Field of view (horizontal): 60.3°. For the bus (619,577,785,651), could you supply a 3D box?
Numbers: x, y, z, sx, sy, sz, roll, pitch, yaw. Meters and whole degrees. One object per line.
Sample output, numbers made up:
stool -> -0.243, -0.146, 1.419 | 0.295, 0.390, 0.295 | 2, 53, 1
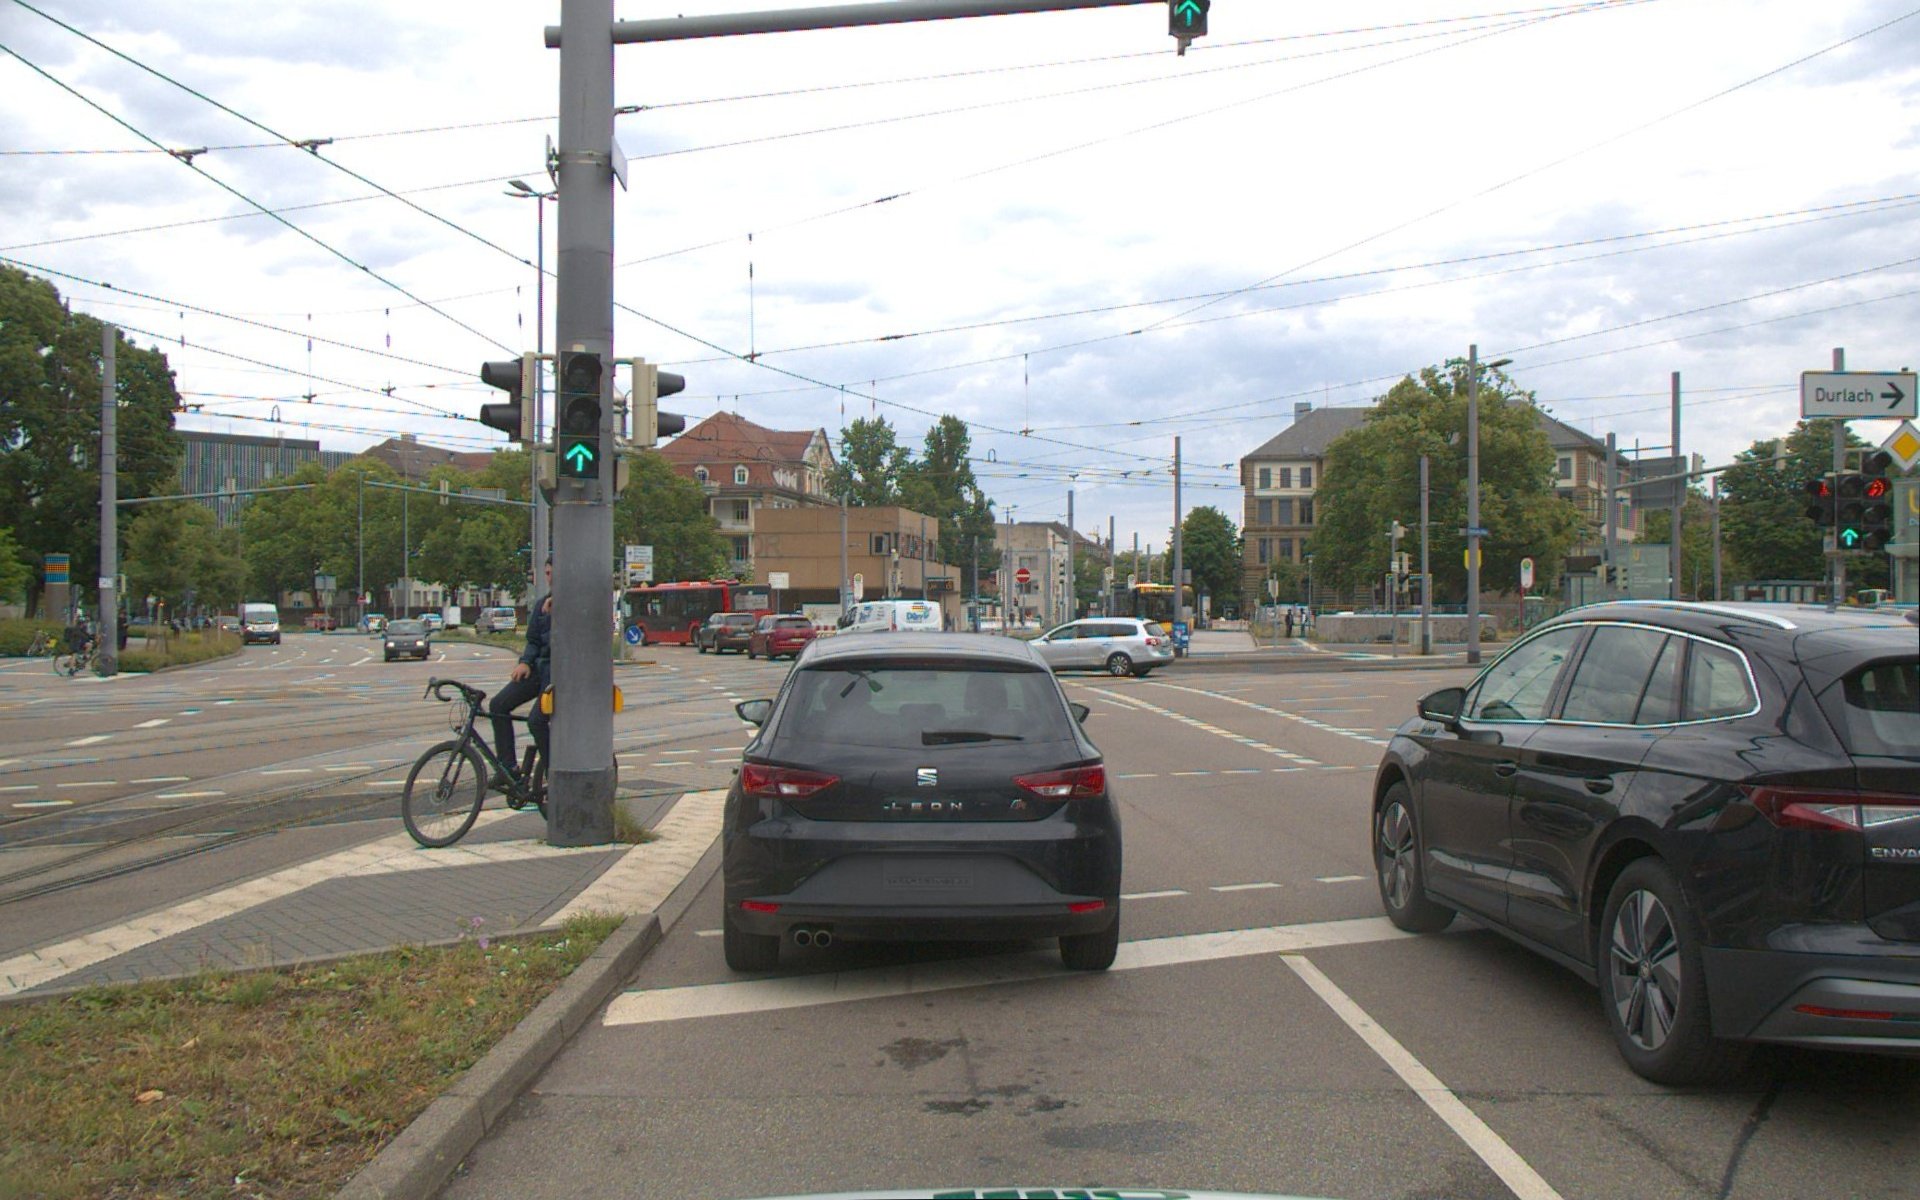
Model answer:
bus -> -12.969, 0.728, 81.707 | 3.033, 3.355, 12.224 | 0, -1, -35

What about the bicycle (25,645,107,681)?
bicycle -> -27.630, 1.944, 51.139 | 2.080, 1.046, 0.791 | 2, 1, -18

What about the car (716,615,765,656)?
car -> -9.178, 1.451, 68.852 | 1.956, 1.593, 4.197 | 0, 0, -8

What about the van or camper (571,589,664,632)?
van or camper -> -28.102, 0.842, 135.735 | 2.828, 3.390, 7.103 | -3, -2, 44

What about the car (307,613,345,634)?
car -> -55.692, 2.026, 145.247 | 1.981, 1.803, 3.943 | 0, -1, -39

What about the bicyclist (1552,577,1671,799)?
bicyclist -> 5.217, 0.685, 13.278 | 0.603, 1.720, 0.805 | 0, 0, -3

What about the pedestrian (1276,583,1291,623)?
pedestrian -> 35.440, 0.313, 181.420 | 1.358, 4.328, 1.346 | 0, -1, -1

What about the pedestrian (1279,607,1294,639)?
pedestrian -> 19.680, 1.374, 99.631 | 0.806, 1.886, 1.022 | -1, -1, 15

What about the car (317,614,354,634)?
car -> -57.978, 2.245, 153.542 | 1.982, 1.780, 3.940 | 0, -1, -41

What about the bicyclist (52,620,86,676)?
bicyclist -> -27.552, 1.464, 51.158 | 0.800, 1.685, 0.790 | 0, 1, -19

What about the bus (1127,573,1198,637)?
bus -> 11.457, 0.318, 92.419 | 2.952, 3.325, 13.053 | -1, 0, 11

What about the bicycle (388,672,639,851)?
bicycle -> -3.042, 1.071, 11.353 | 1.600, 1.089, 0.520 | 0, -1, -41

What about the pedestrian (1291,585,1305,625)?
pedestrian -> 37.039, 0.556, 181.335 | 1.280, 4.328, 1.346 | 0, -1, -1

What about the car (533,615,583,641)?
car -> -25.219, 1.753, 103.670 | 1.973, 1.566, 3.958 | 0, -1, -31

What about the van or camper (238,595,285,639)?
van or camper -> -43.323, 1.062, 102.499 | 2.253, 2.572, 5.522 | -1, 0, -28

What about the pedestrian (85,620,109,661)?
pedestrian -> -37.162, 1.733, 71.220 | 0.734, 1.764, 0.683 | -1, 0, -16

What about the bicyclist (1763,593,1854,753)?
bicyclist -> 9.783, 0.821, 19.074 | 0.724, 1.782, 0.581 | -2, 0, -28

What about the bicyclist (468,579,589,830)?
bicyclist -> -2.978, 0.697, 11.417 | 0.649, 1.668, 0.510 | 0, -1, -41

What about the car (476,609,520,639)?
car -> -32.481, 1.683, 116.254 | 1.974, 2.049, 3.956 | 0, -1, -32

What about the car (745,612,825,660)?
car -> -6.300, 1.268, 59.220 | 1.831, 1.628, 4.178 | 0, 0, -21

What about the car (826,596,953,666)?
car -> -2.254, 0.946, 51.332 | 1.971, 2.054, 4.984 | 0, 0, -28

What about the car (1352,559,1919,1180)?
car -> 3.178, 0.739, 6.813 | 1.865, 1.687, 4.512 | -1, 0, -3

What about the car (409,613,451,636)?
car -> -42.139, 1.966, 131.514 | 1.979, 1.780, 3.947 | 0, -1, -37

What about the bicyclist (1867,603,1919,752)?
bicyclist -> 10.302, 0.808, 17.662 | 0.871, 1.548, 0.668 | 0, -1, -22

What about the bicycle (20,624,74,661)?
bicycle -> -37.375, 1.724, 67.760 | 0.829, 1.474, 2.255 | 0, 0, 4

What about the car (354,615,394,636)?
car -> -47.344, 2.080, 133.597 | 1.979, 1.669, 3.946 | 0, -1, -37

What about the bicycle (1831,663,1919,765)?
bicycle -> 10.231, 1.190, 17.624 | 1.912, 1.016, 0.598 | 0, -1, -22

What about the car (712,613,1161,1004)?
car -> -0.126, 0.814, 8.331 | 1.710, 1.490, 3.999 | 0, 0, -1

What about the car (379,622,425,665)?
car -> -21.298, 1.646, 63.112 | 1.594, 1.542, 3.644 | -1, 0, -20

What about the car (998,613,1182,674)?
car -> 3.433, 1.152, 43.685 | 4.521, 1.508, 1.725 | -1, 0, 25
